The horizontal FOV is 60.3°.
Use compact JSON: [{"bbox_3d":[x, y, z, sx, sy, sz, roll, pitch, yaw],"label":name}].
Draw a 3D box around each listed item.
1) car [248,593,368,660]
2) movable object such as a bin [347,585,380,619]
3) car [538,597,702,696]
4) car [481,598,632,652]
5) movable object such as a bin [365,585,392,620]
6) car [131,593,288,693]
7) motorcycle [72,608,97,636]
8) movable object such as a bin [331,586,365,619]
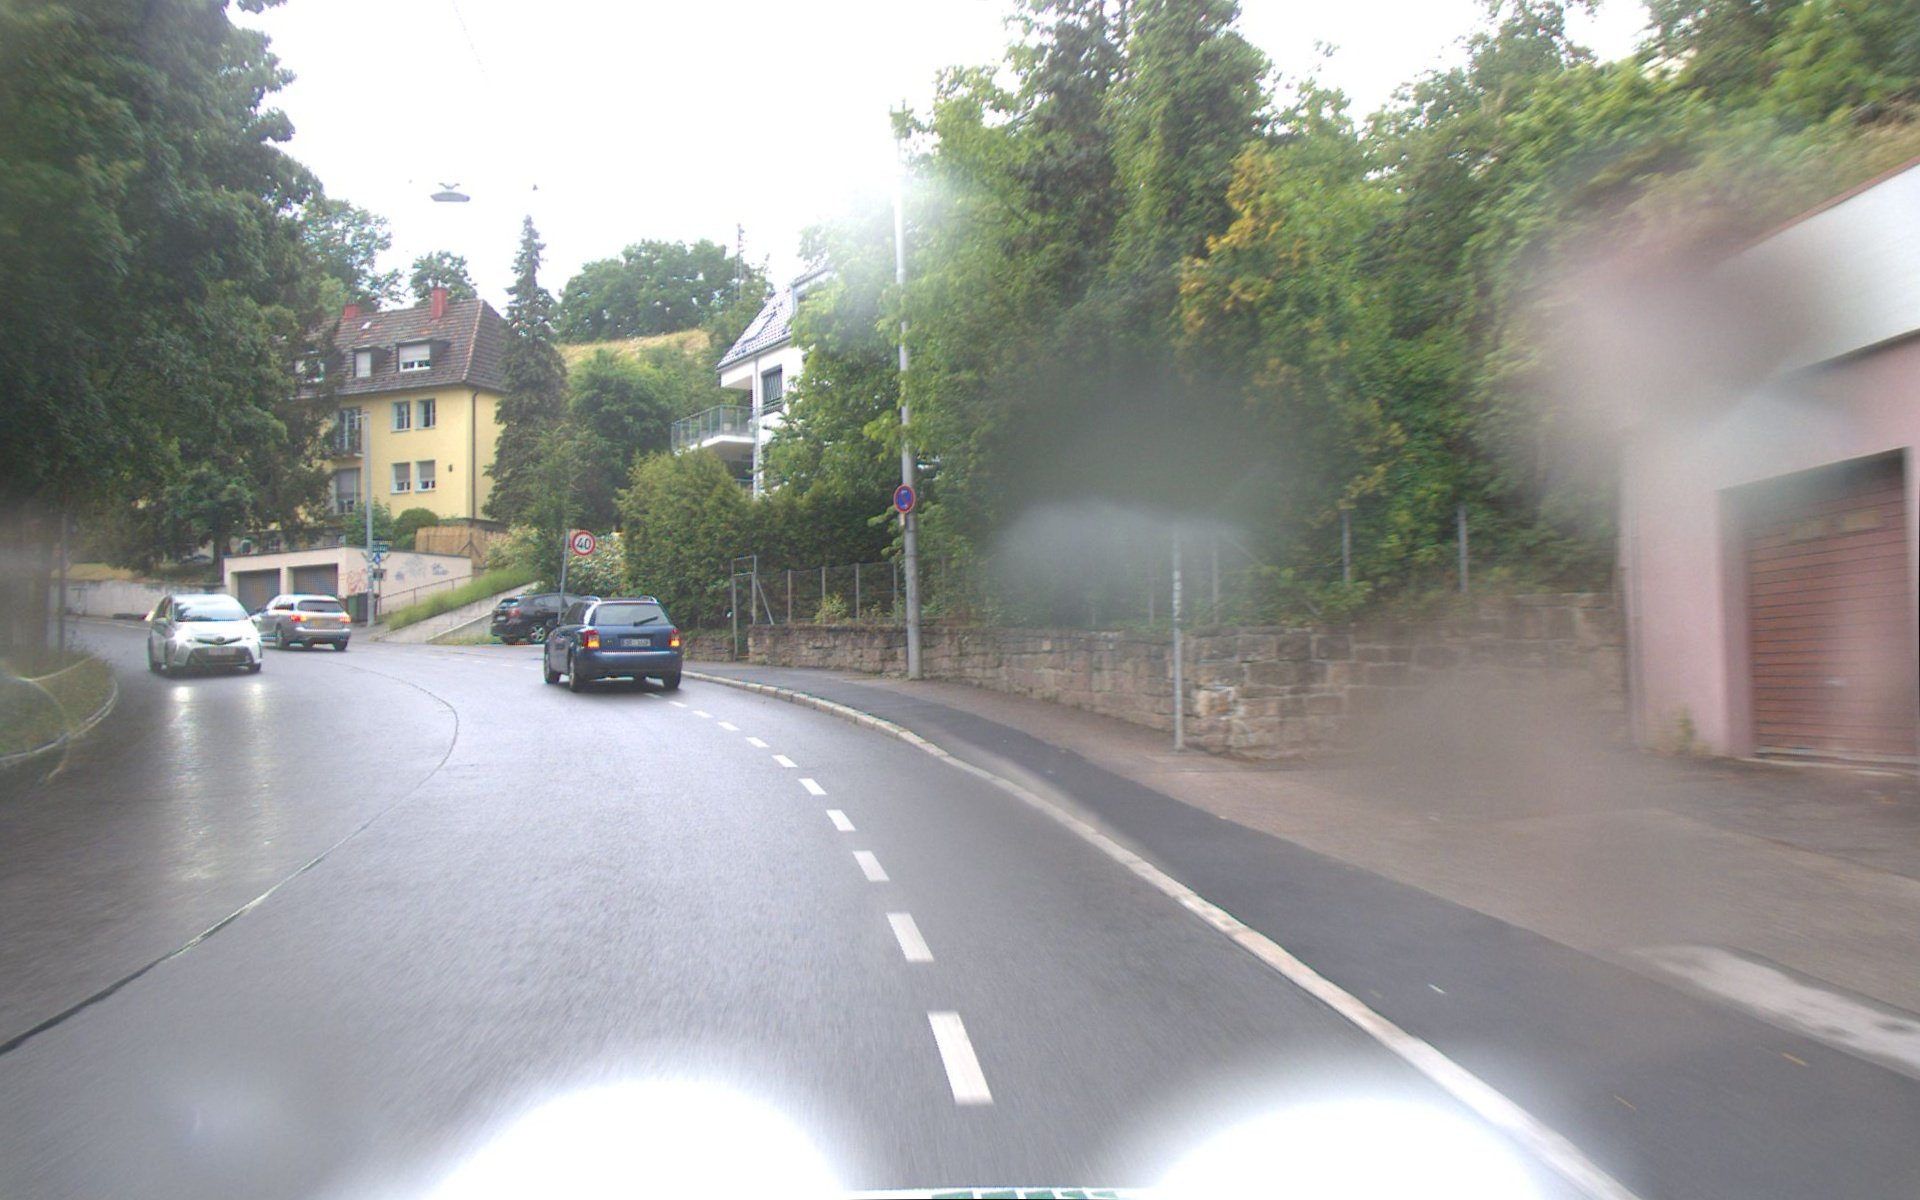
[{"bbox_3d":[-17.989,0.703,45.542,1.936,1.588,4.206,3,1,-38],"label":"car"},{"bbox_3d":[-21.651,0.069,60.041,0.769,1.206,0.861,0,0,28],"label":"movable object such as a bin"},{"bbox_3d":[-5.671,0.695,27.181,1.829,1.438,4.330,-1,1,-23],"label":"car"},{"bbox_3d":[-12.012,0.722,49.383,1.710,1.534,4.156,0,0,42],"label":"car"},{"bbox_3d":[-21.013,0.077,59.751,0.568,1.244,0.703,0,0,28],"label":"movable object such as a bin"},{"bbox_3d":[-15.671,0.846,34.396,1.970,1.819,4.633,-4,2,-37],"label":"car"},{"bbox_3d":[-37.105,0.913,70.090,1.416,1.151,0.546,1,0,44],"label":"motorcycle"},{"bbox_3d":[-22.347,0.087,60.413,0.782,1.162,0.861,0,0,28],"label":"movable object such as a bin"}]
